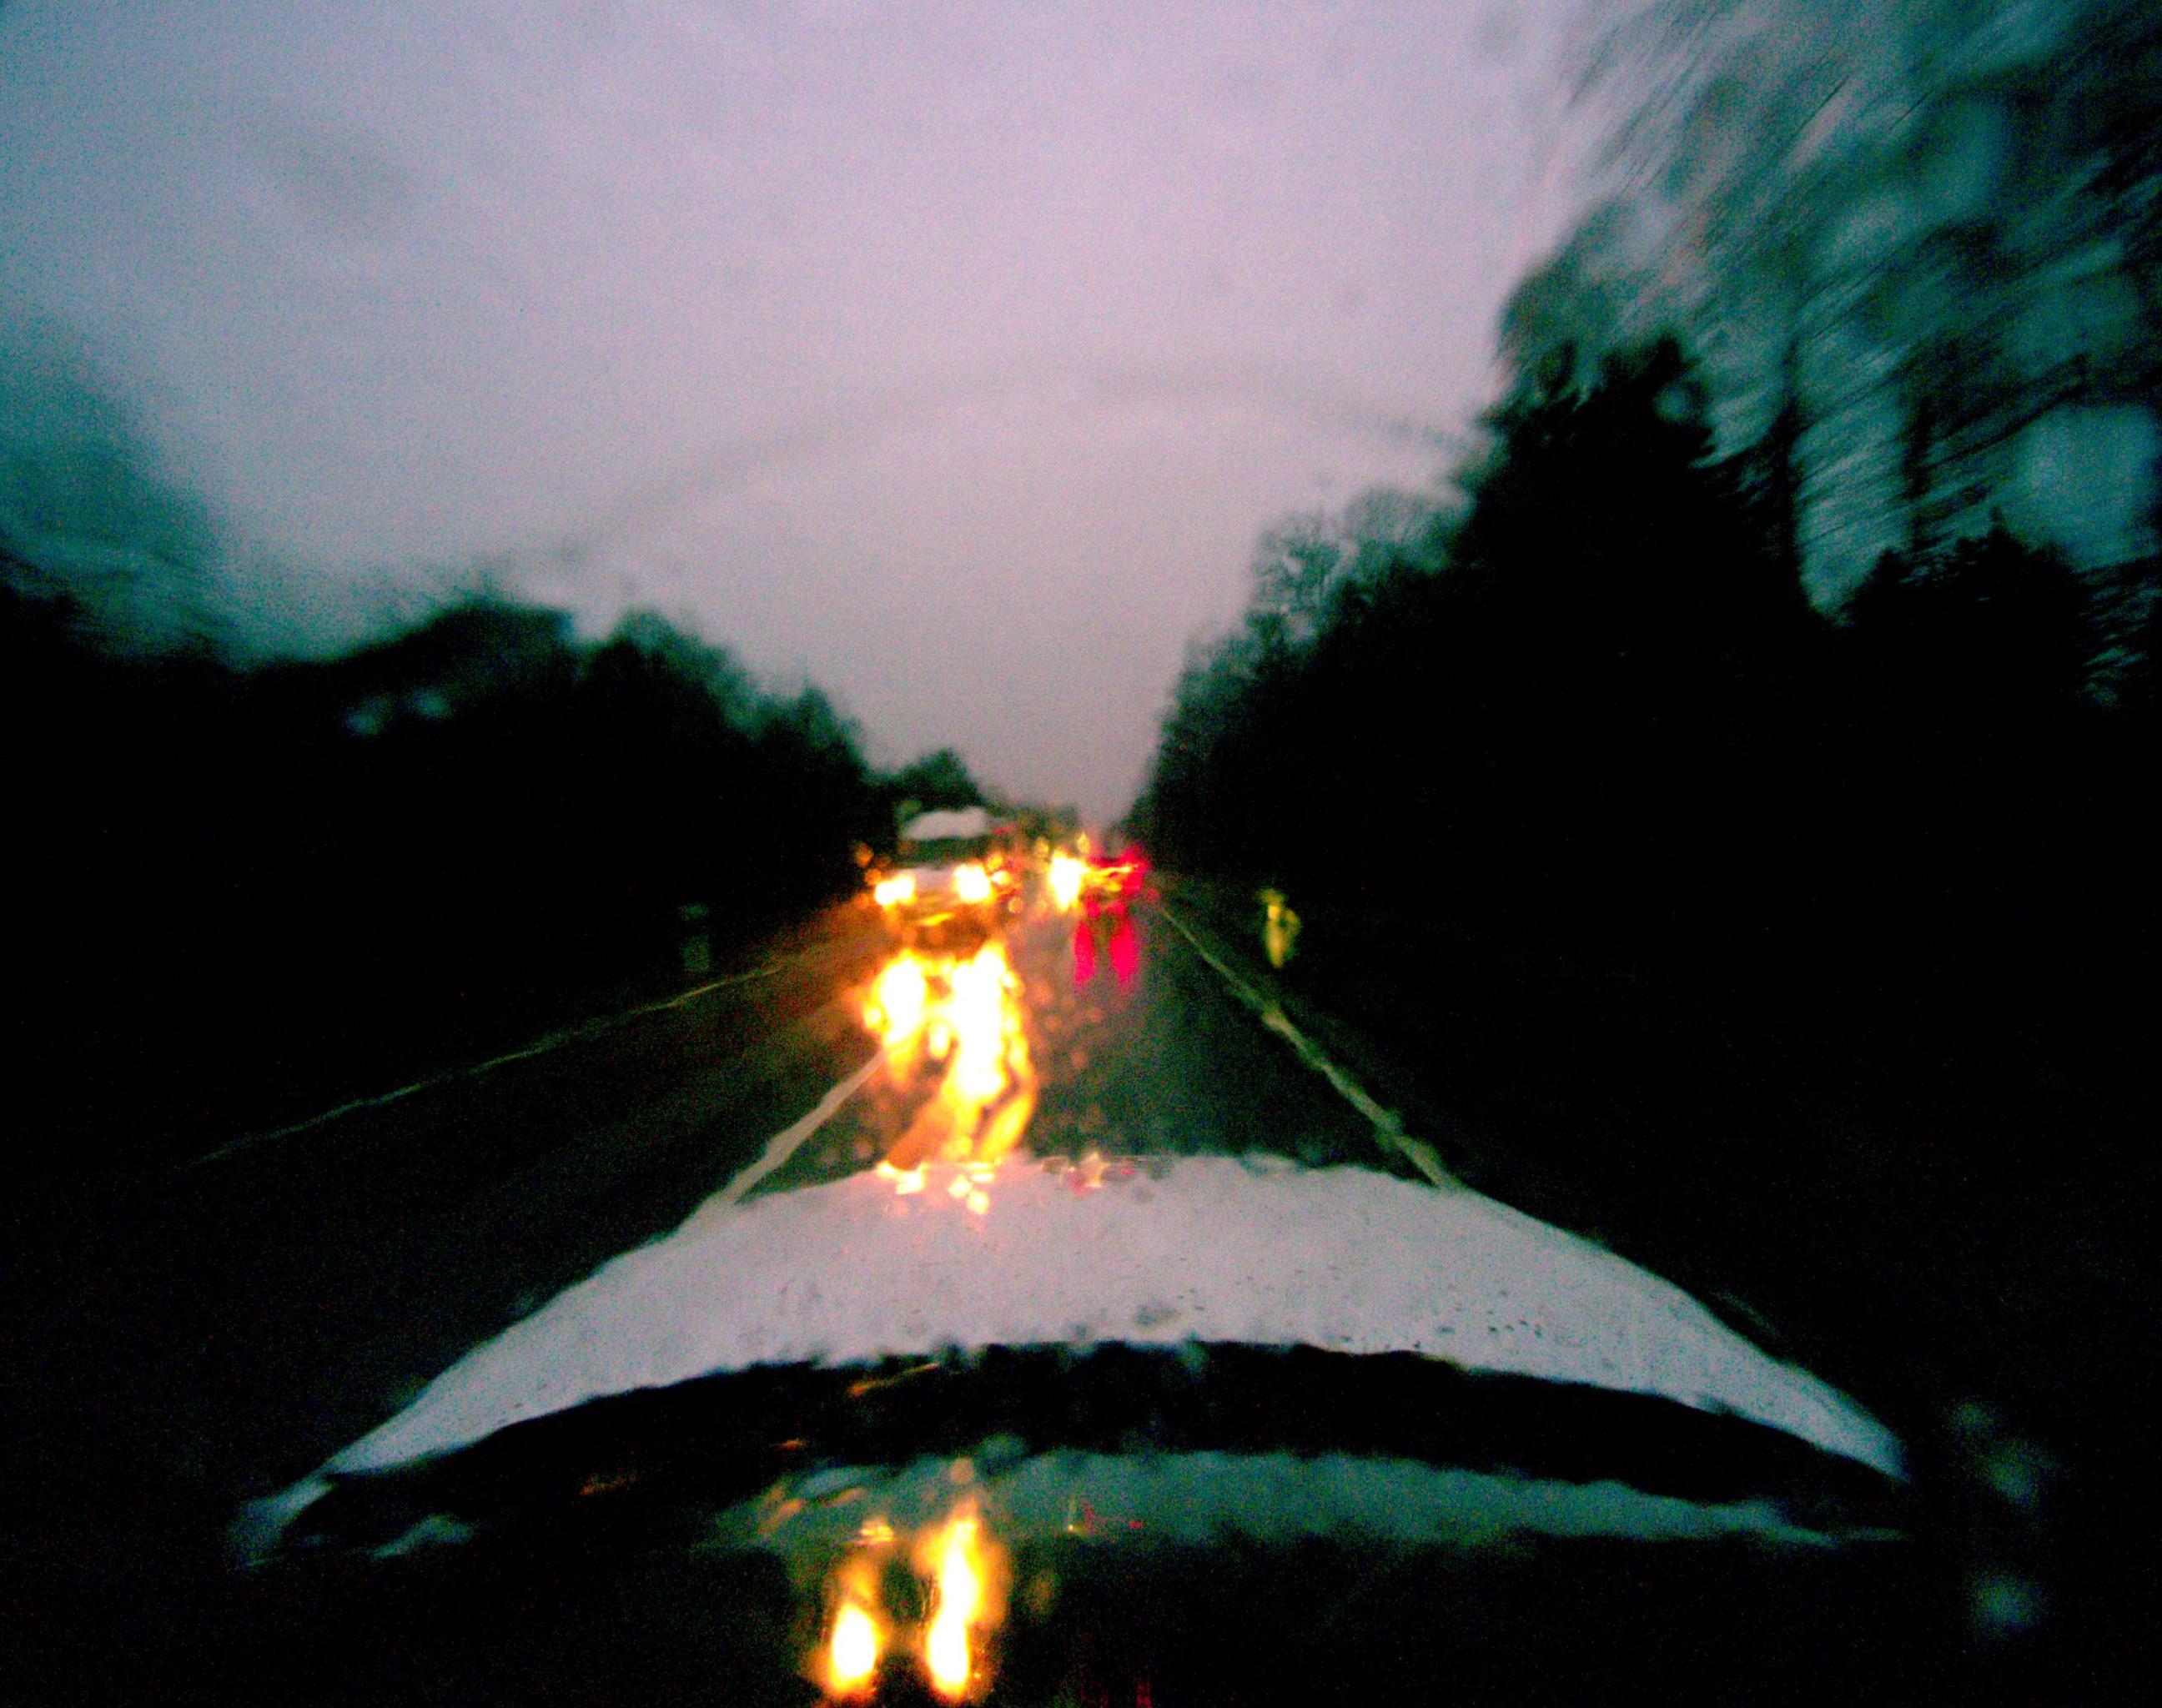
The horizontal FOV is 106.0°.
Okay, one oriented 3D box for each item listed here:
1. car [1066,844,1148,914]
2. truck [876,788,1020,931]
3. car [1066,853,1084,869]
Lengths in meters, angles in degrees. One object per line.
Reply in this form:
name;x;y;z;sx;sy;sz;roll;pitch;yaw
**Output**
car;0.759;0.695;24.344;2.190;1.877;4.828;0;0;1
truck;-2.846;0.114;19.294;2.095;2.771;6.873;0;0;1
car;-0.616;0.739;85.252;1.688;1.560;4.131;0;1;2
